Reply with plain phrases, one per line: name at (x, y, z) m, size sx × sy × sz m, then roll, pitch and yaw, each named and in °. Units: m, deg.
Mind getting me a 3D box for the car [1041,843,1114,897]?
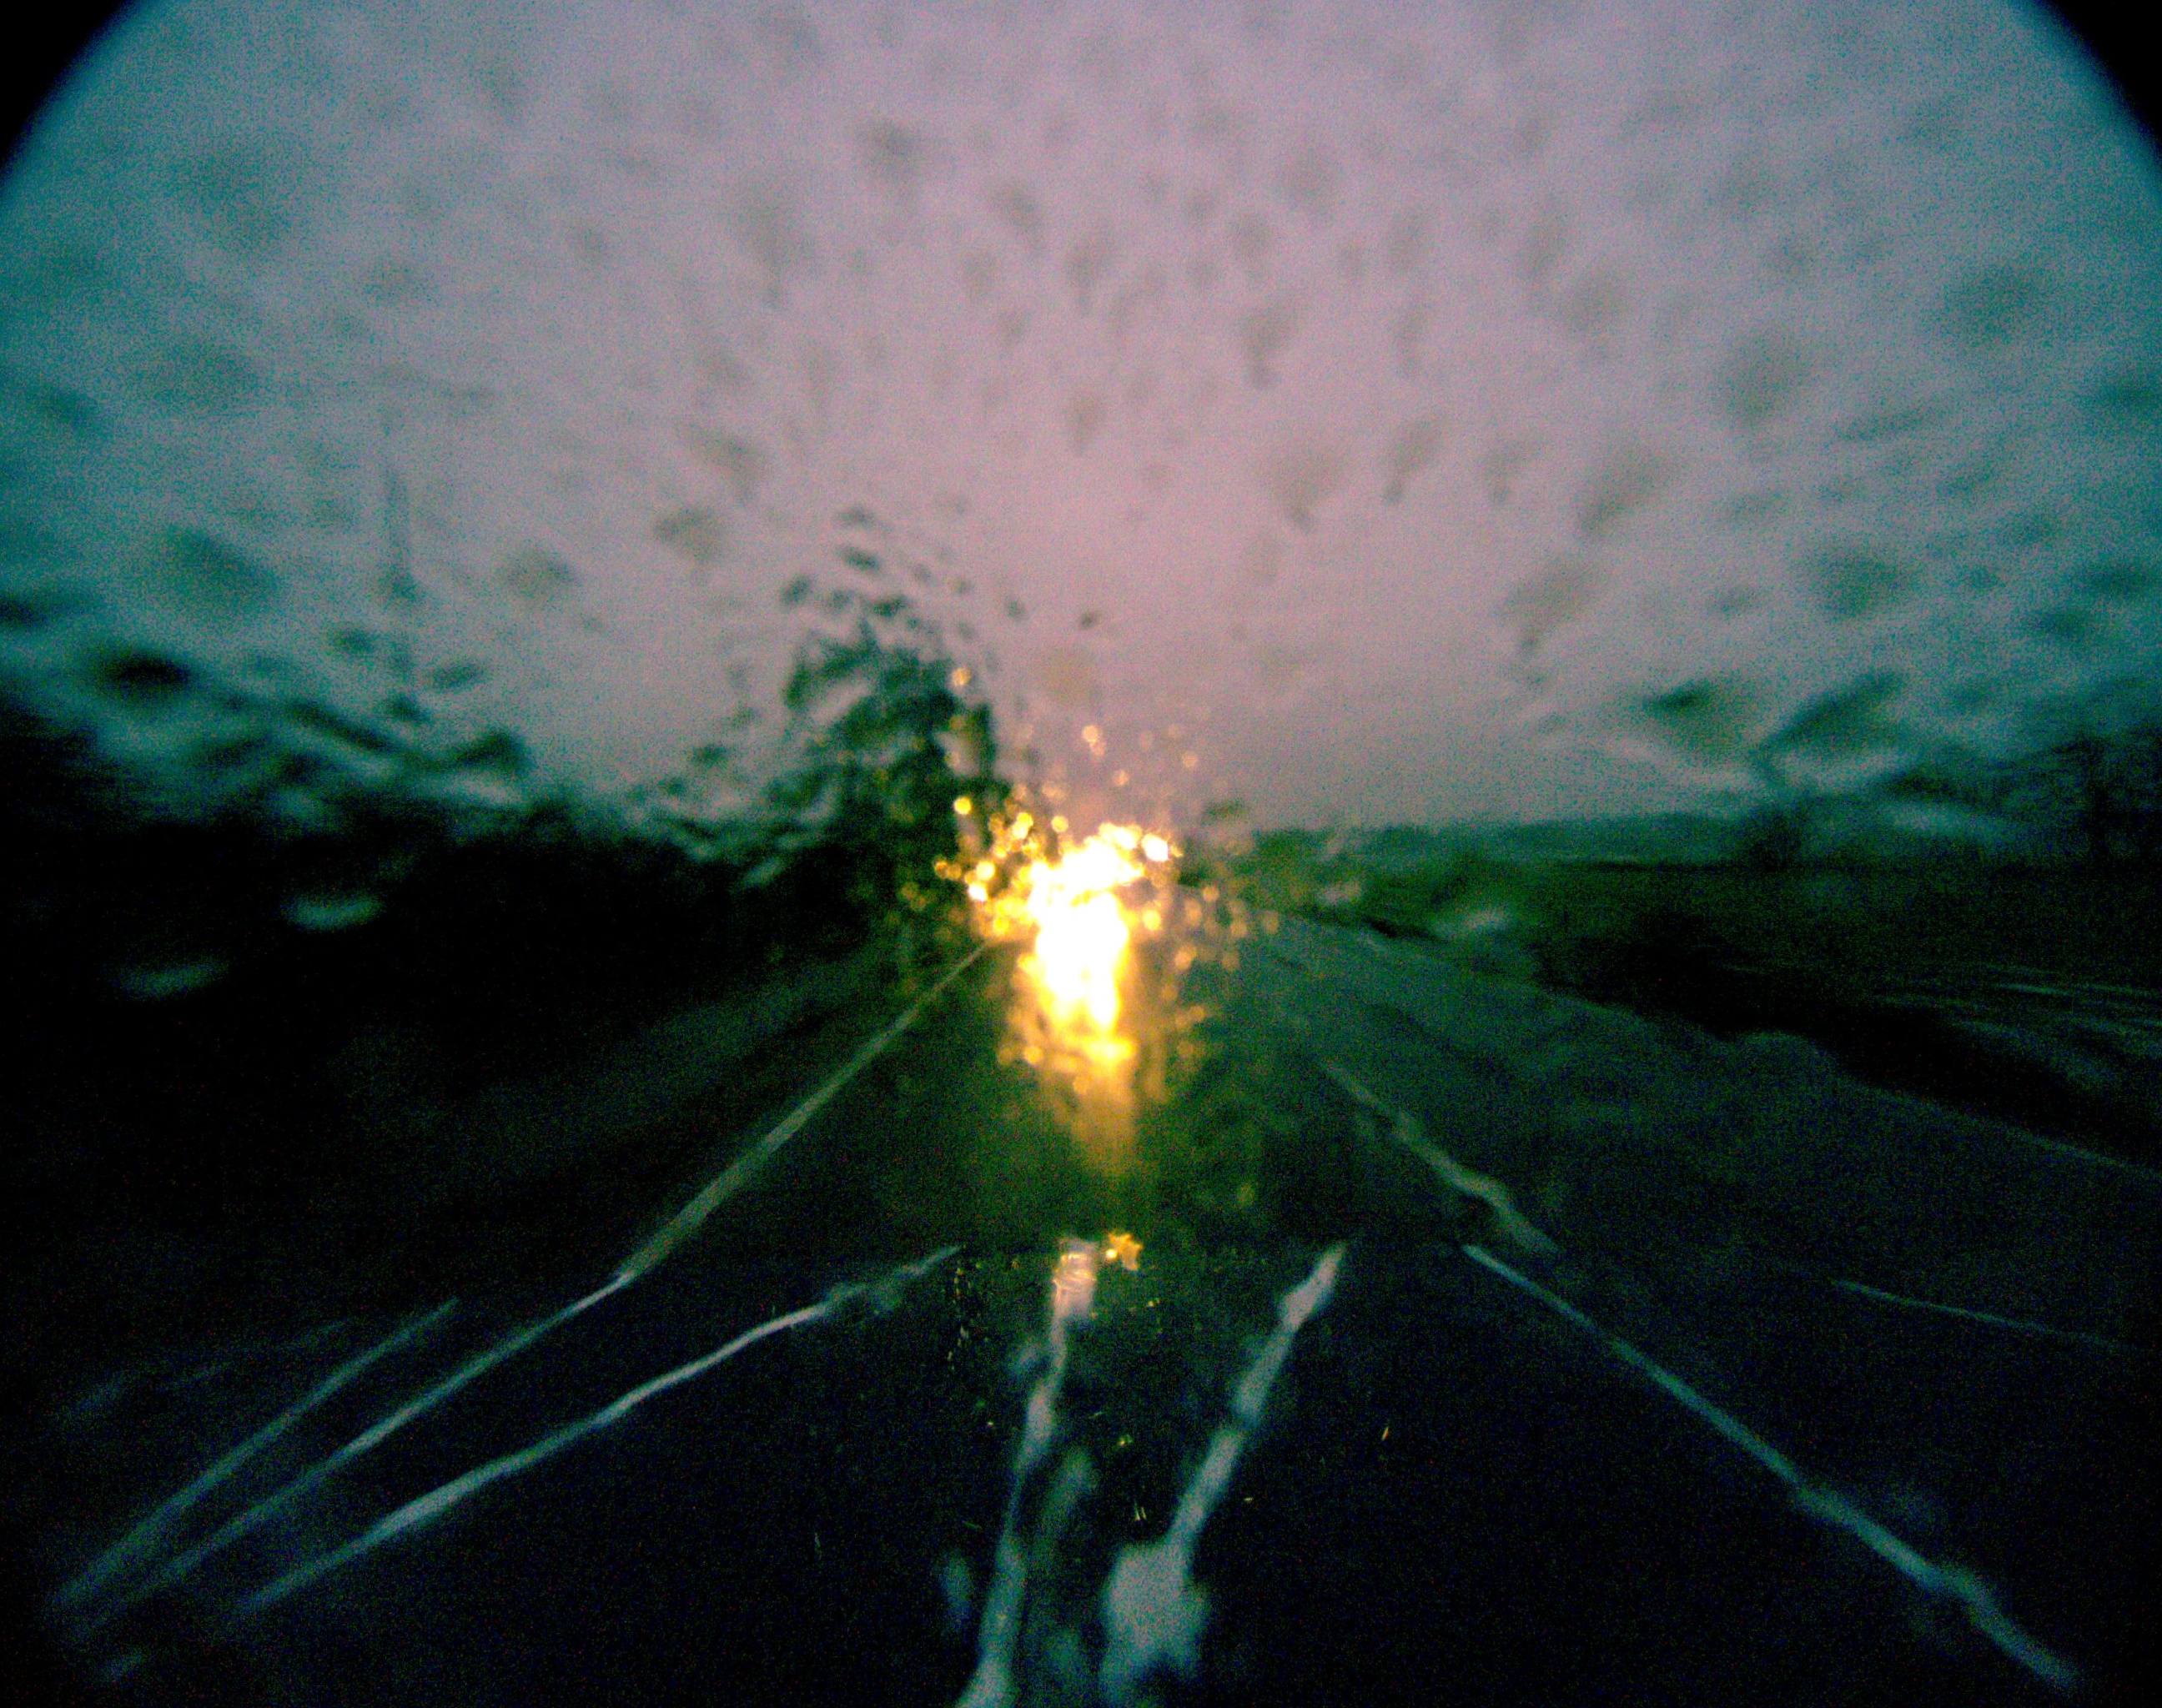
car at (-0.099, 0.598, 32.087) m, size 2.705 × 1.974 × 5.803 m, roll -2°, pitch 1°, yaw 1°
